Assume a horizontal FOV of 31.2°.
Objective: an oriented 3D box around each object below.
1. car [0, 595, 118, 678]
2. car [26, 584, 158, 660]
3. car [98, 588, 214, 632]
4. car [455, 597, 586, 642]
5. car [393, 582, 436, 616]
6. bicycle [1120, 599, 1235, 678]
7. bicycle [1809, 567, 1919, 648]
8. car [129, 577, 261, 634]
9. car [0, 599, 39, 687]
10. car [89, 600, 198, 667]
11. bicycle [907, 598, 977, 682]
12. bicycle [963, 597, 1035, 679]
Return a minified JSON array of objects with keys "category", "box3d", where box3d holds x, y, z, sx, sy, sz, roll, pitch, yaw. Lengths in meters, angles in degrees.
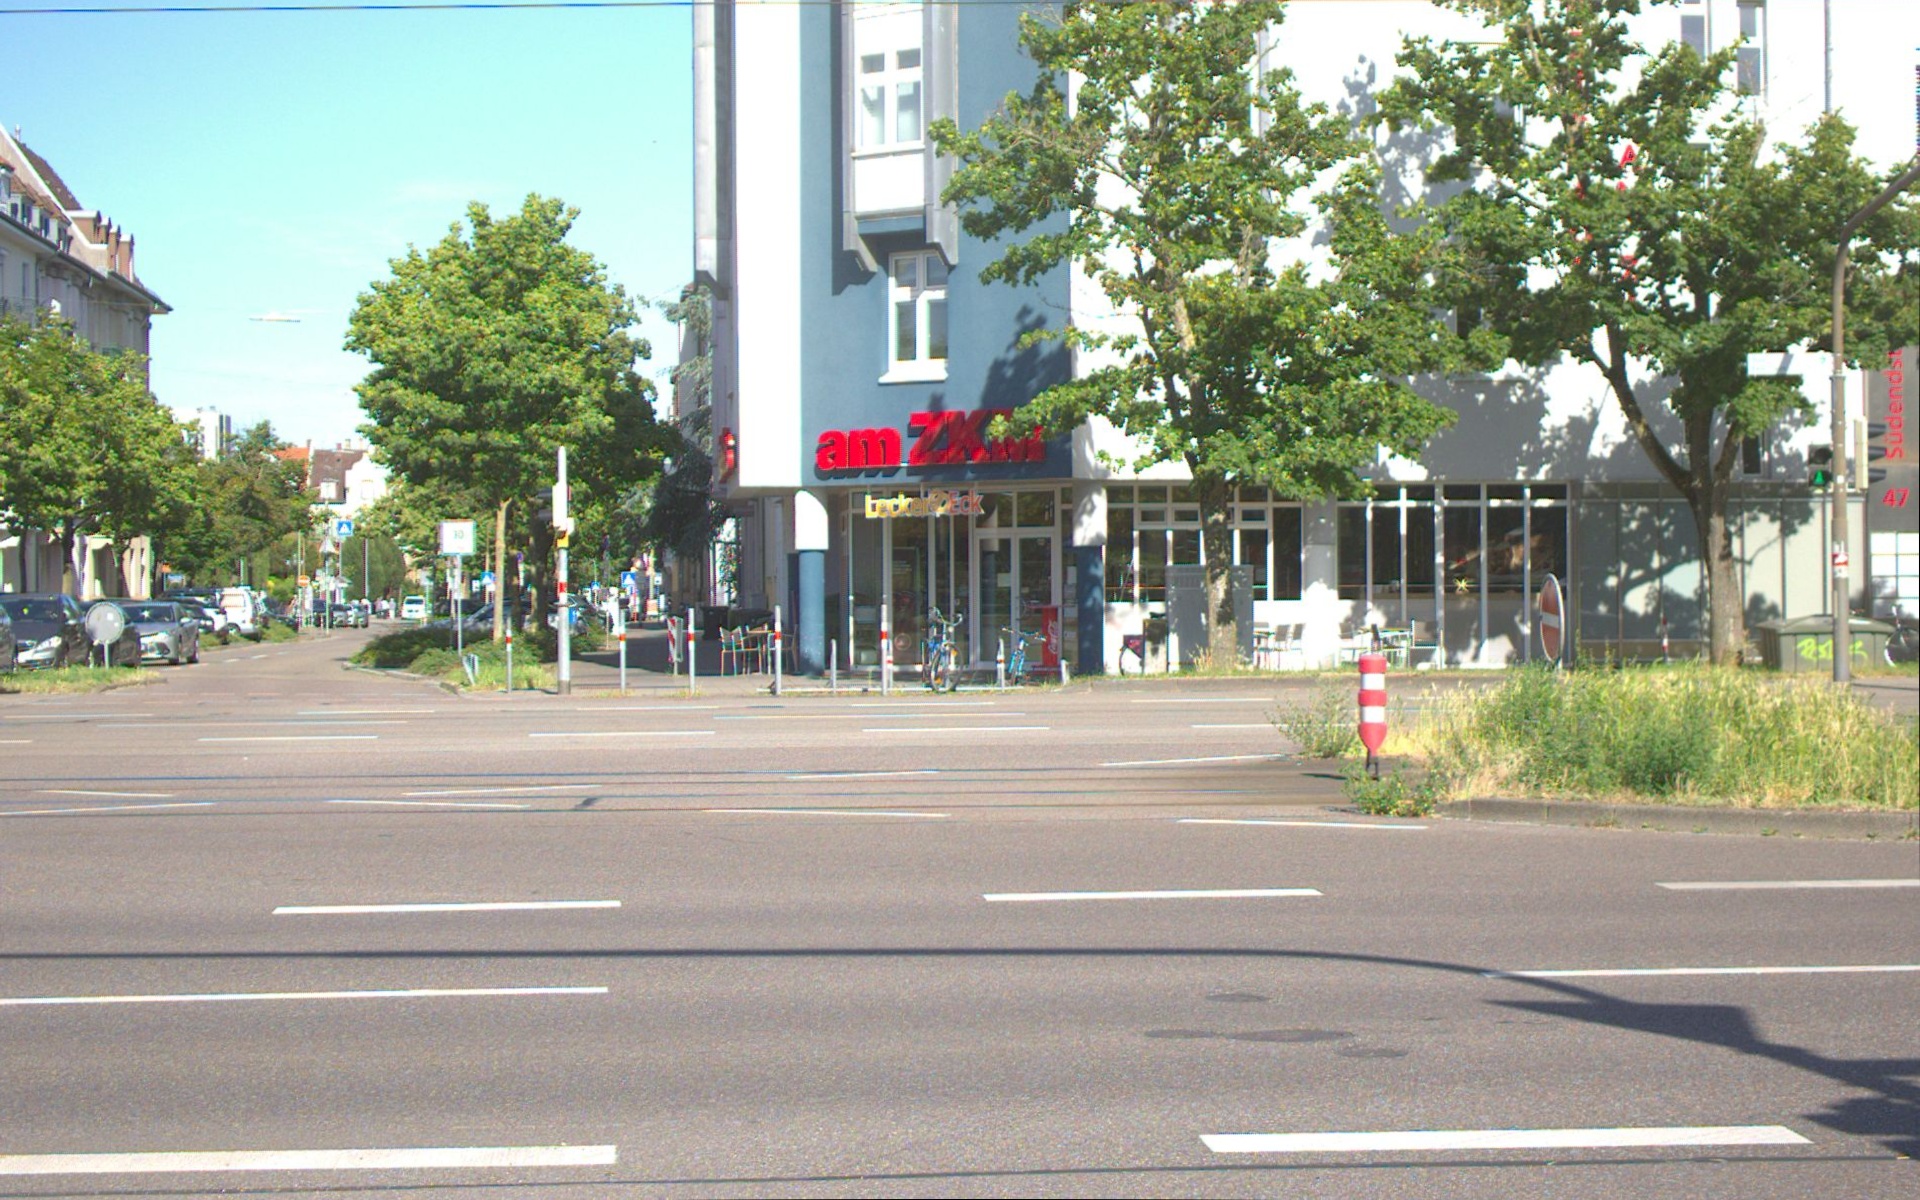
[{"category":"car","box3d":[-16.896,0.652,63.397,1.688,1.427,4.400,2,0,-1]},{"category":"car","box3d":[-17.419,0.439,69.166,1.688,1.427,4.400,2,0,-3]},{"category":"car","box3d":[-26.664,0.343,114.120,3.566,1.411,1.928,0,-1,-8]},{"category":"car","box3d":[-12.250,0.543,95.826,3.566,1.219,1.731,0,-1,-8]},{"category":"car","box3d":[-29.015,-0.040,182.939,1.993,1.750,4.520,0,-1,-5]},{"category":"bicycle","box3d":[2.903,0.512,45.831,1.511,1.024,0.473,-1,0,6]},{"category":"bicycle","box3d":[13.580,0.111,50.904,1.863,1.178,0.562,-1,0,-9]},{"category":"car","box3d":[-27.876,0.210,125.396,4.504,2.007,2.000,0,-1,-8]},{"category":"car","box3d":[-16.526,0.686,56.649,1.688,1.427,4.400,2,0,-3]},{"category":"car","box3d":[-18.494,0.747,78.041,1.688,1.427,4.400,2,0,-4]},{"category":"bicycle","box3d":[-0.230,0.495,43.308,0.471,1.024,1.516,-1,0,-16]},{"category":"bicycle","box3d":[0.495,0.479,43.889,0.471,1.024,1.516,-1,0,-17]}]
